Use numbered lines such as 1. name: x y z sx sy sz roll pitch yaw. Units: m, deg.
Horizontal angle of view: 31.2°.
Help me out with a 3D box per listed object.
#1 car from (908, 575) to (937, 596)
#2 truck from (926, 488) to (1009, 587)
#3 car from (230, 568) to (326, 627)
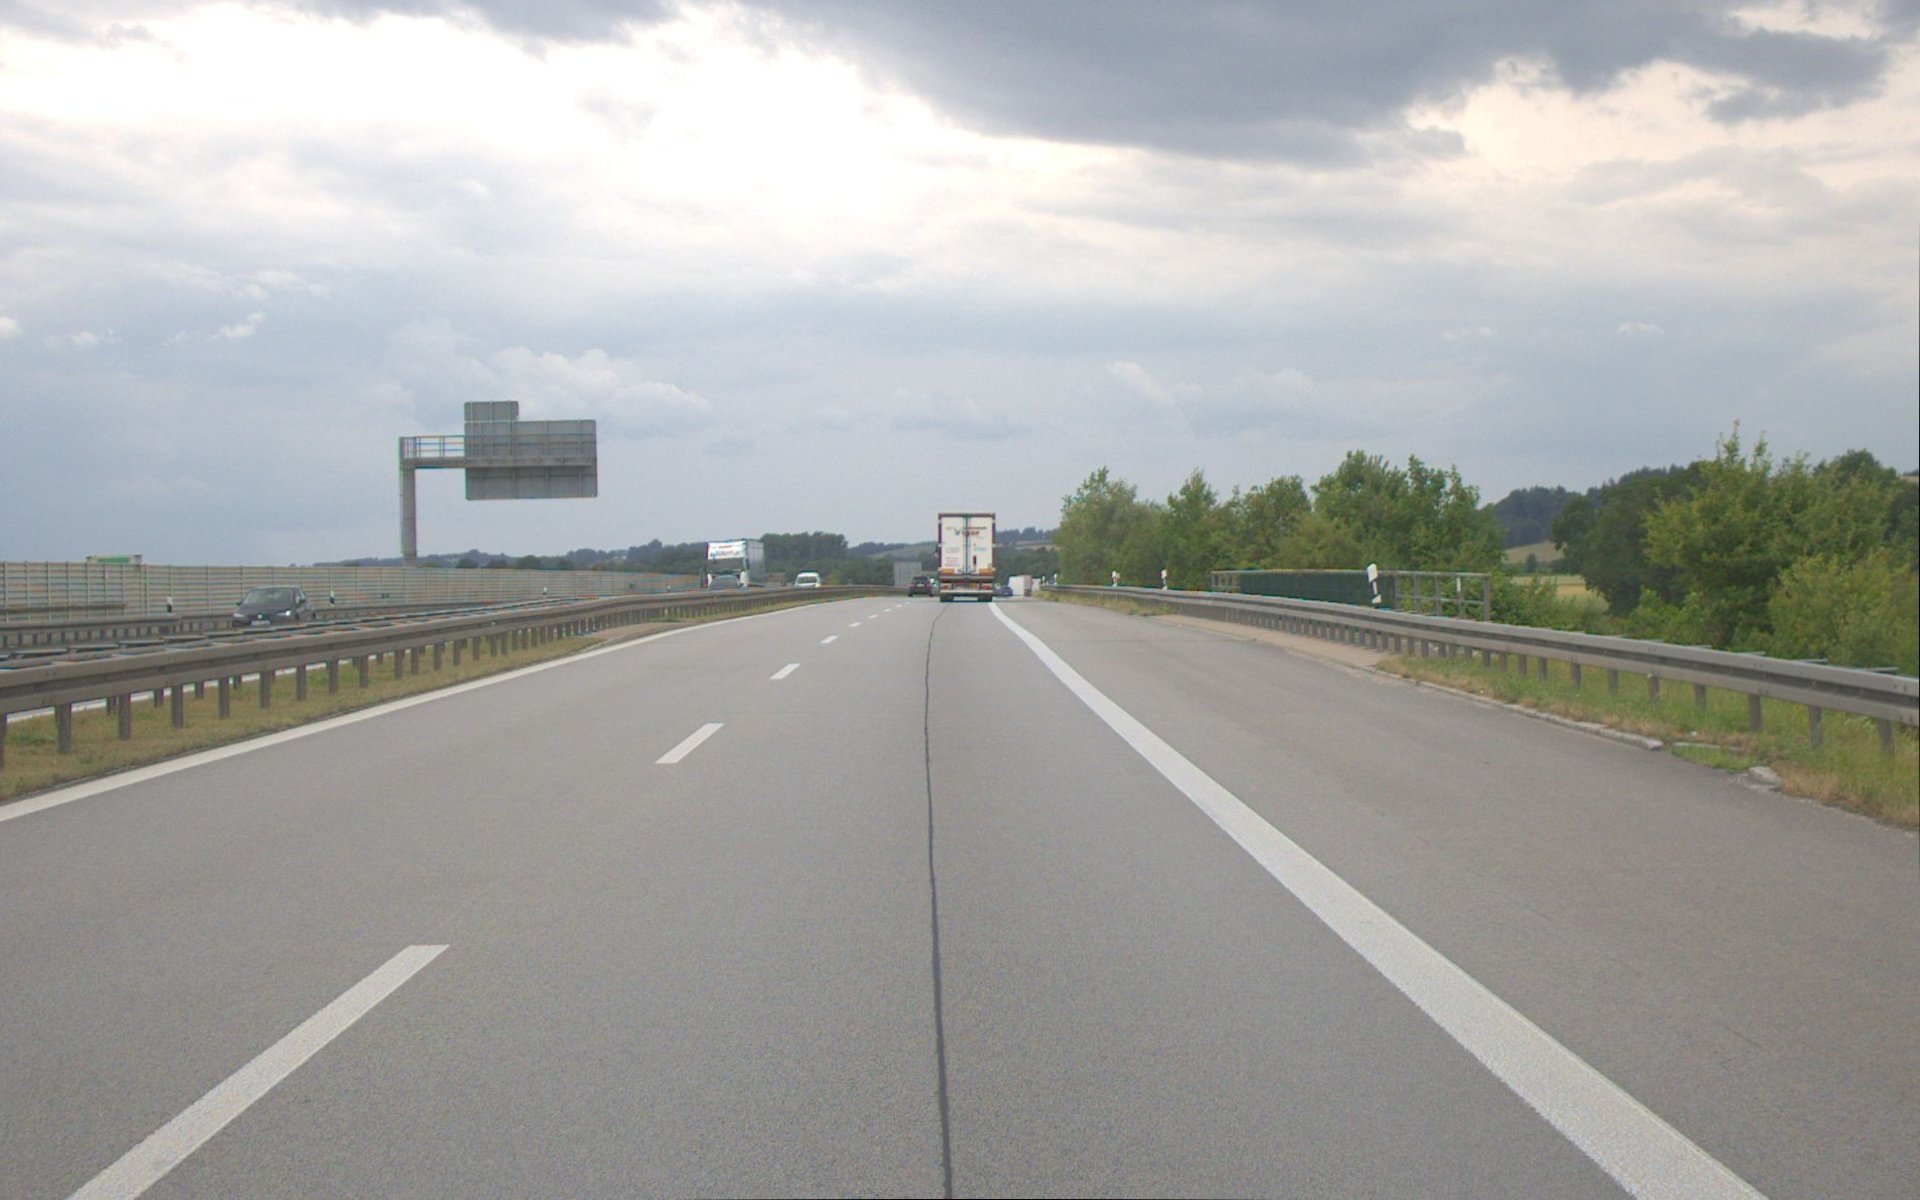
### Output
1. car: -2.747 -1.069 250.826 1.993 1.415 4.001 0 1 -2
2. truck: 0.400 -2.841 163.693 3.672 4.397 16.340 -1 0 0
3. car: -18.762 -0.079 94.712 1.704 1.489 4.566 -3 1 0
